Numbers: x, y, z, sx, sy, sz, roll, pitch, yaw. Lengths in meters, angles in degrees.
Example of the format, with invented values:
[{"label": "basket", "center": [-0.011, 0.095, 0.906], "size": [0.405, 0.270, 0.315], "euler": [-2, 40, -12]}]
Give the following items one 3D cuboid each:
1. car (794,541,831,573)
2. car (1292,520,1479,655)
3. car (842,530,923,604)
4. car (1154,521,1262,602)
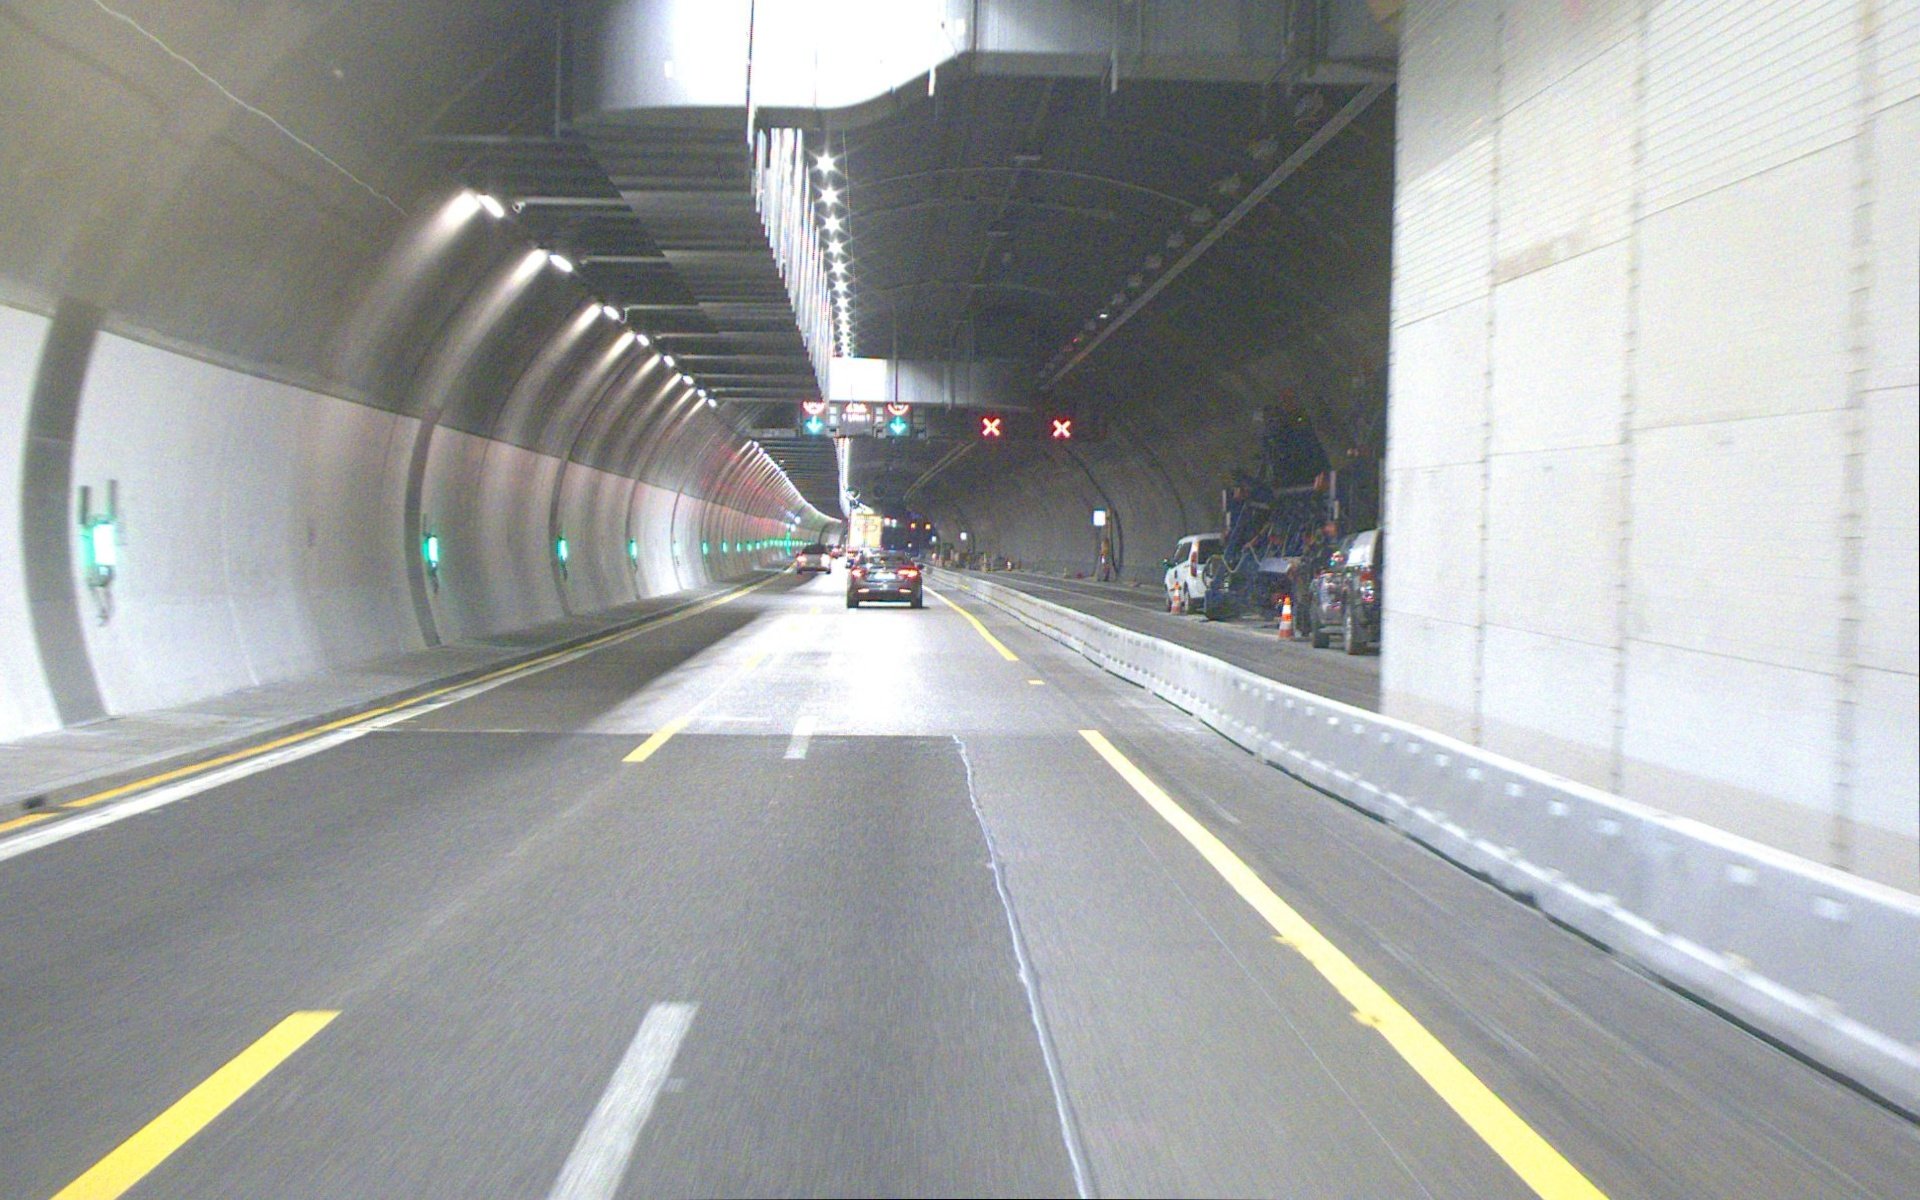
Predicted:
[{"label": "car", "center": [-7.795, -2.275, 181.895], "size": [1.930, 1.681, 4.001], "euler": [0, 1, -2]}, {"label": "car", "center": [6.246, -0.227, 51.102], "size": [1.827, 1.852, 5.442], "euler": [1, 1, -3]}, {"label": "car", "center": [-1.952, -0.840, 85.858], "size": [1.946, 1.788, 4.001], "euler": [0, 1, -2]}, {"label": "car", "center": [5.813, -0.923, 80.995], "size": [1.750, 1.839, 4.647], "euler": [0, 1, -6]}]
